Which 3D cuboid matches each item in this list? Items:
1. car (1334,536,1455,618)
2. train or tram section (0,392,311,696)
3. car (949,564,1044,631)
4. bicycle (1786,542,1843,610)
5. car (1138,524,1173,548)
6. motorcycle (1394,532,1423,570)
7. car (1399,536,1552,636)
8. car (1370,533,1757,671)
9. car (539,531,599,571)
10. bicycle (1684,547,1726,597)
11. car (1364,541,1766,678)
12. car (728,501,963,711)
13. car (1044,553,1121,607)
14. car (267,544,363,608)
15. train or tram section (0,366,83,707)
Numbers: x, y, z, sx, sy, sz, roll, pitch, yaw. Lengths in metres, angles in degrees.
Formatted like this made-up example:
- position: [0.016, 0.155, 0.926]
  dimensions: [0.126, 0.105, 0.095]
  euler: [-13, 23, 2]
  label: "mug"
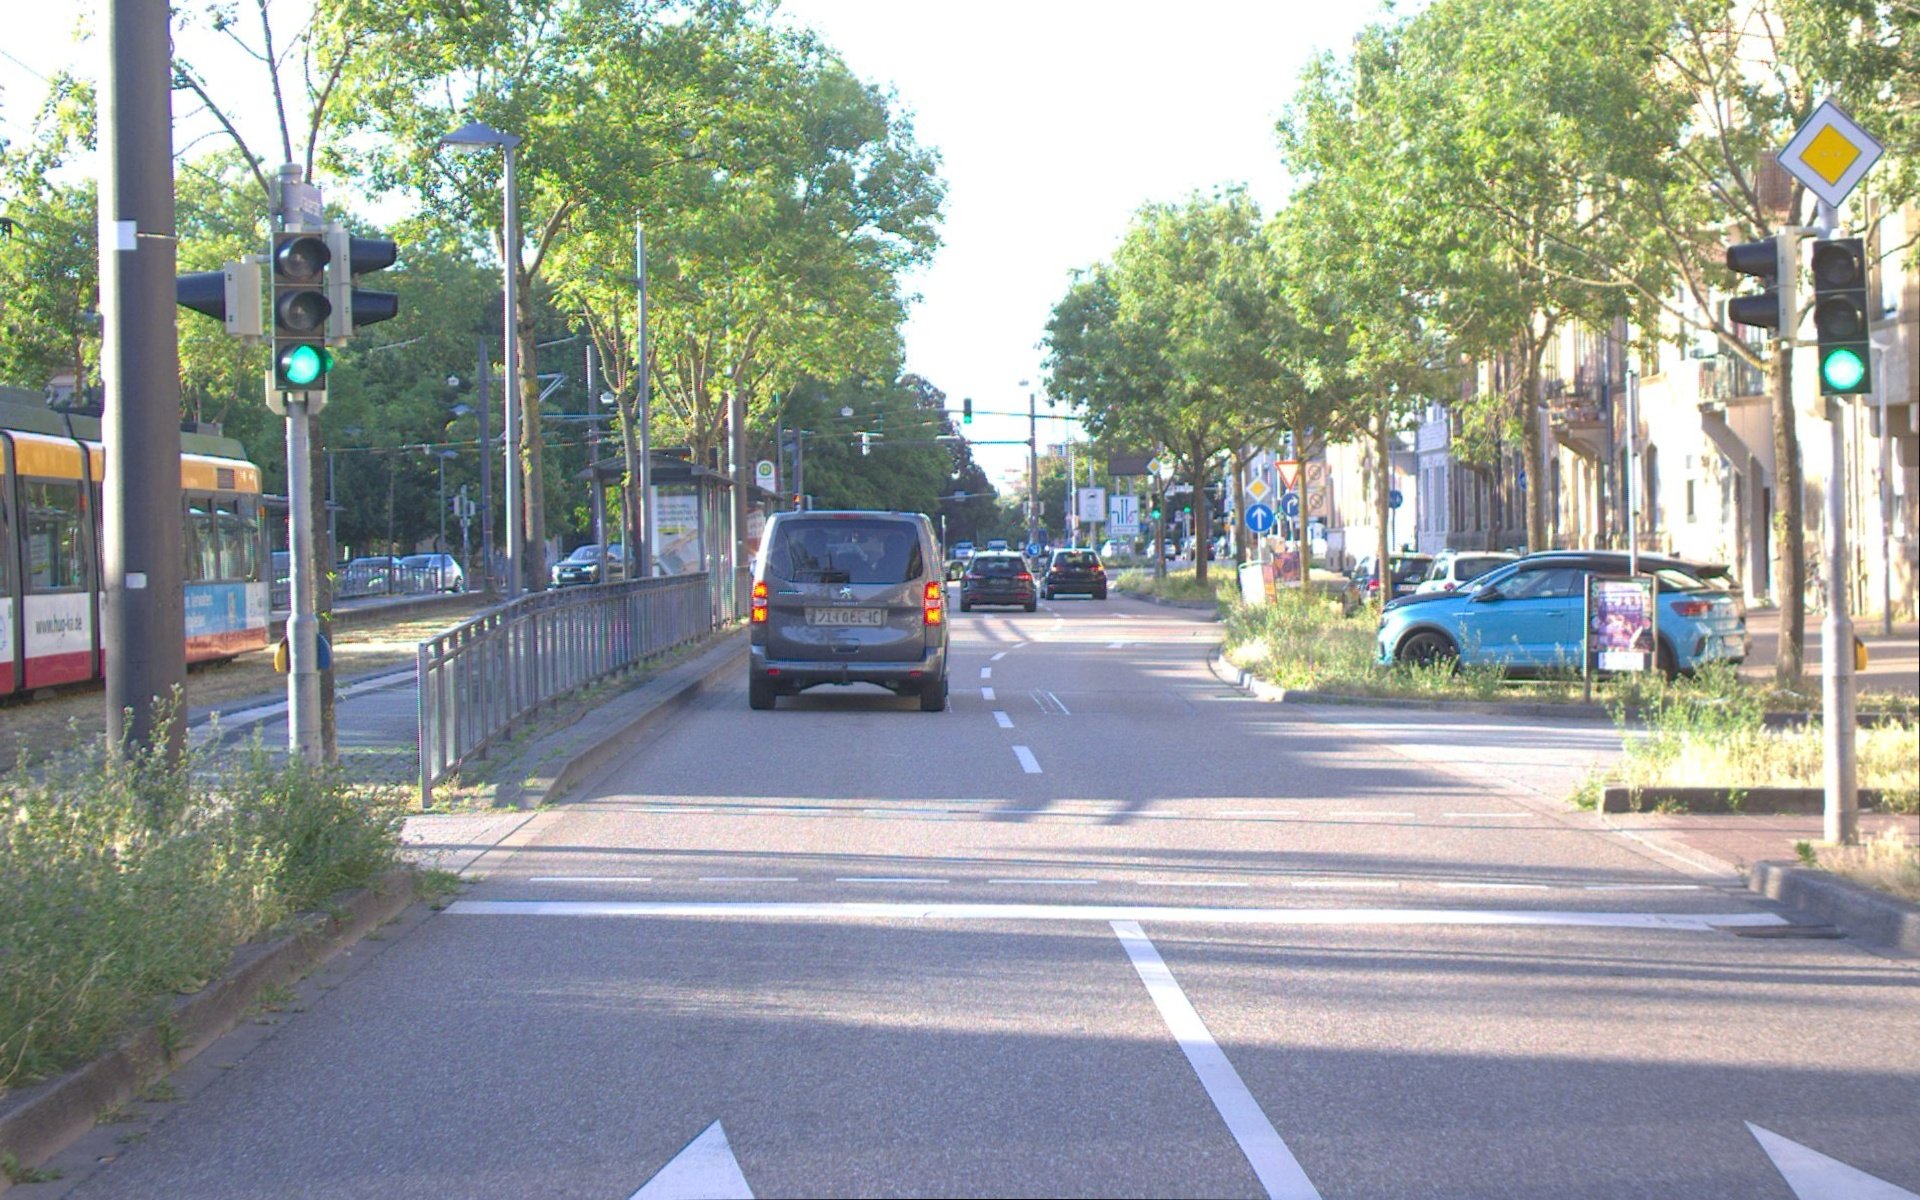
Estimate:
- position: [8.245, -0.462, 65.536]
  dimensions: [1.704, 1.443, 4.289]
  euler: [2, 1, 0]
  label: "car"
- position: [-11.412, -0.710, 44.730]
  dimensions: [3.431, 3.328, 13.858]
  euler: [-1, 1, -1]
  label: "train or tram section"
- position: [0.840, -0.082, 82.199]
  dimensions: [1.993, 1.505, 4.001]
  euler: [0, 1, -3]
  label: "car"
- position: [15.574, -0.446, 62.679]
  dimensions: [0.483, 1.161, 1.746]
  euler: [-6, 1, 0]
  label: "bicycle"
- position: [13.855, -4.526, 243.986]
  dimensions: [1.993, 1.651, 4.300]
  euler: [-1, 1, -3]
  label: "car"
- position: [14.525, -1.583, 111.370]
  dimensions: [0.553, 1.210, 2.073]
  euler: [0, 1, -2]
  label: "motorcycle"
- position: [8.359, -0.262, 56.073]
  dimensions: [1.725, 1.507, 4.273]
  euler: [2, 1, -1]
  label: "car"
- position: [7.526, -0.016, 42.964]
  dimensions: [4.334, 1.566, 1.998]
  euler: [2, 2, 29]
  label: "car"
- position: [-14.377, -1.800, 126.444]
  dimensions: [1.794, 1.410, 4.341]
  euler: [0, 1, -1]
  label: "car"
- position: [15.422, -0.584, 71.201]
  dimensions: [0.483, 1.002, 1.746]
  euler: [-1, 1, 0]
  label: "bicycle"
- position: [7.101, 0.082, 40.441]
  dimensions: [4.281, 1.517, 1.844]
  euler: [0, 1, 32]
  label: "car"
- position: [-1.047, 0.018, 33.598]
  dimensions: [1.993, 1.894, 4.299]
  euler: [1, 1, 2]
  label: "car"
- position: [3.515, -0.588, 99.167]
  dimensions: [1.993, 1.505, 4.000]
  euler: [0, 1, -1]
  label: "car"
- position: [-17.348, -0.657, 92.648]
  dimensions: [1.859, 1.648, 4.000]
  euler: [-1, 1, -1]
  label: "car"
- position: [-11.298, -0.552, 30.271]
  dimensions: [3.431, 3.418, 15.028]
  euler: [-1, 1, -1]
  label: "train or tram section"
